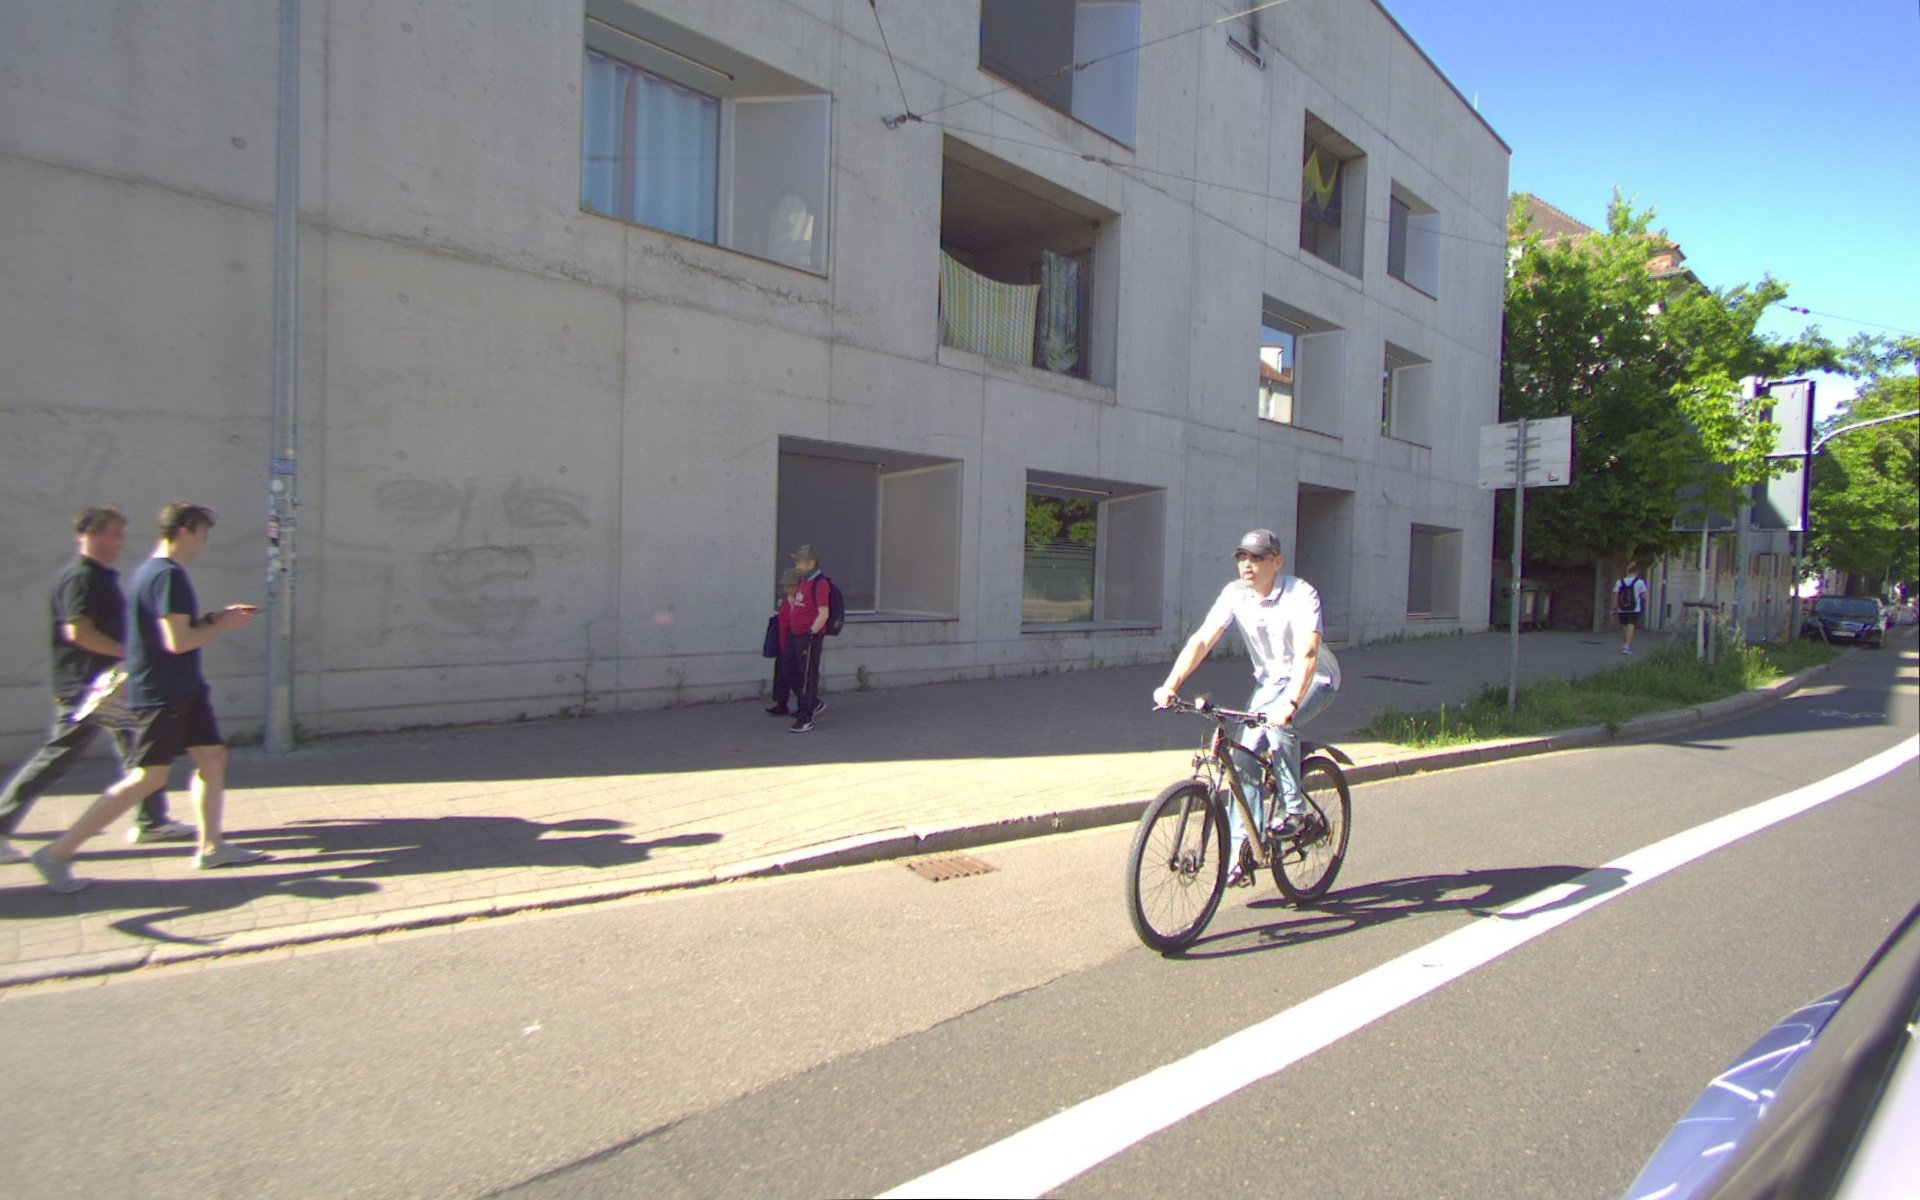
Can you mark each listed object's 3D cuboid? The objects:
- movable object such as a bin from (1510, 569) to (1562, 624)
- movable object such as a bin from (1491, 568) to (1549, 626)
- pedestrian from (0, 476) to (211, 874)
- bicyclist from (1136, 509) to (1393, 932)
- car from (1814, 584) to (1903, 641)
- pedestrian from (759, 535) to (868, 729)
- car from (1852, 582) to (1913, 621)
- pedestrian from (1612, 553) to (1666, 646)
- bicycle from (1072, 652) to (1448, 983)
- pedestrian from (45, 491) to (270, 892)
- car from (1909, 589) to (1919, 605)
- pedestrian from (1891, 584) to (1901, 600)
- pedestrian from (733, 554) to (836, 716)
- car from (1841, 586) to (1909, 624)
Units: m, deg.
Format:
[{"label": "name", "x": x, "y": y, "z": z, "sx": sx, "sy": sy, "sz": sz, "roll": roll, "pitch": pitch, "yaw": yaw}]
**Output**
[{"label": "movable object such as a bin", "x": 16.155, "y": -0.119, "z": 28.388, "sx": 0.934, "sy": 1.481, "sz": 1.310, "roll": 3, "pitch": 2, "yaw": 44}, {"label": "movable object such as a bin", "x": 14.925, "y": -0.092, "z": 26.967, "sx": 1.332, "sy": 1.481, "sz": 0.934, "roll": 0, "pitch": 2, "yaw": -43}, {"label": "pedestrian", "x": -4.309, "y": 0.320, "z": 4.974, "sx": 0.939, "sy": 1.783, "sz": 0.649, "roll": 0, "pitch": 7, "yaw": -42}, {"label": "bicyclist", "x": 1.412, "y": 0.475, "z": 4.674, "sx": 0.955, "sy": 1.707, "sz": 0.739, "roll": 0, "pitch": 1, "yaw": -43}, {"label": "car", "x": 27.471, "y": 0.329, "z": 30.979, "sx": 1.821, "sy": 1.476, "sz": 4.746, "roll": 6, "pitch": 4, "yaw": 41}, {"label": "pedestrian", "x": -1.285, "y": 0.254, "z": 8.874, "sx": 0.751, "sy": 1.620, "sz": 0.518, "roll": 0, "pitch": 3, "yaw": -42}, {"label": "car", "x": 44.162, "y": 0.040, "z": 48.420, "sx": 4.508, "sy": 1.645, "sz": 1.813, "roll": 0, "pitch": 5, "yaw": -44}, {"label": "pedestrian", "x": 14.293, "y": -0.028, "z": 21.307, "sx": 0.684, "sy": 1.872, "sz": 0.940, "roll": 5, "pitch": 4, "yaw": 44}, {"label": "bicycle", "x": 1.491, "y": 0.862, "z": 4.755, "sx": 2.075, "sy": 1.108, "sz": 0.739, "roll": 0, "pitch": 1, "yaw": -43}, {"label": "pedestrian", "x": -3.846, "y": 0.389, "z": 4.858, "sx": 0.802, "sy": 1.747, "sz": 0.496, "roll": 0, "pitch": 7, "yaw": -42}, {"label": "car", "x": 97.679, "y": -0.282, "z": 102.708, "sx": 1.819, "sy": 1.501, "sz": 4.677, "roll": 5, "pitch": 4, "yaw": 42}, {"label": "pedestrian", "x": 121.229, "y": -0.982, "z": 131.094, "sx": 0.740, "sy": 2.038, "sz": 0.679, "roll": 3, "pitch": 2, "yaw": 37}, {"label": "pedestrian", "x": -1.622, "y": 0.297, "z": 9.375, "sx": 0.751, "sy": 1.421, "sz": 0.518, "roll": 0, "pitch": 3, "yaw": -42}, {"label": "car", "x": 38.821, "y": 0.198, "z": 42.911, "sx": 4.282, "sy": 1.398, "sz": 1.727, "roll": 0, "pitch": 4, "yaw": -43}]
